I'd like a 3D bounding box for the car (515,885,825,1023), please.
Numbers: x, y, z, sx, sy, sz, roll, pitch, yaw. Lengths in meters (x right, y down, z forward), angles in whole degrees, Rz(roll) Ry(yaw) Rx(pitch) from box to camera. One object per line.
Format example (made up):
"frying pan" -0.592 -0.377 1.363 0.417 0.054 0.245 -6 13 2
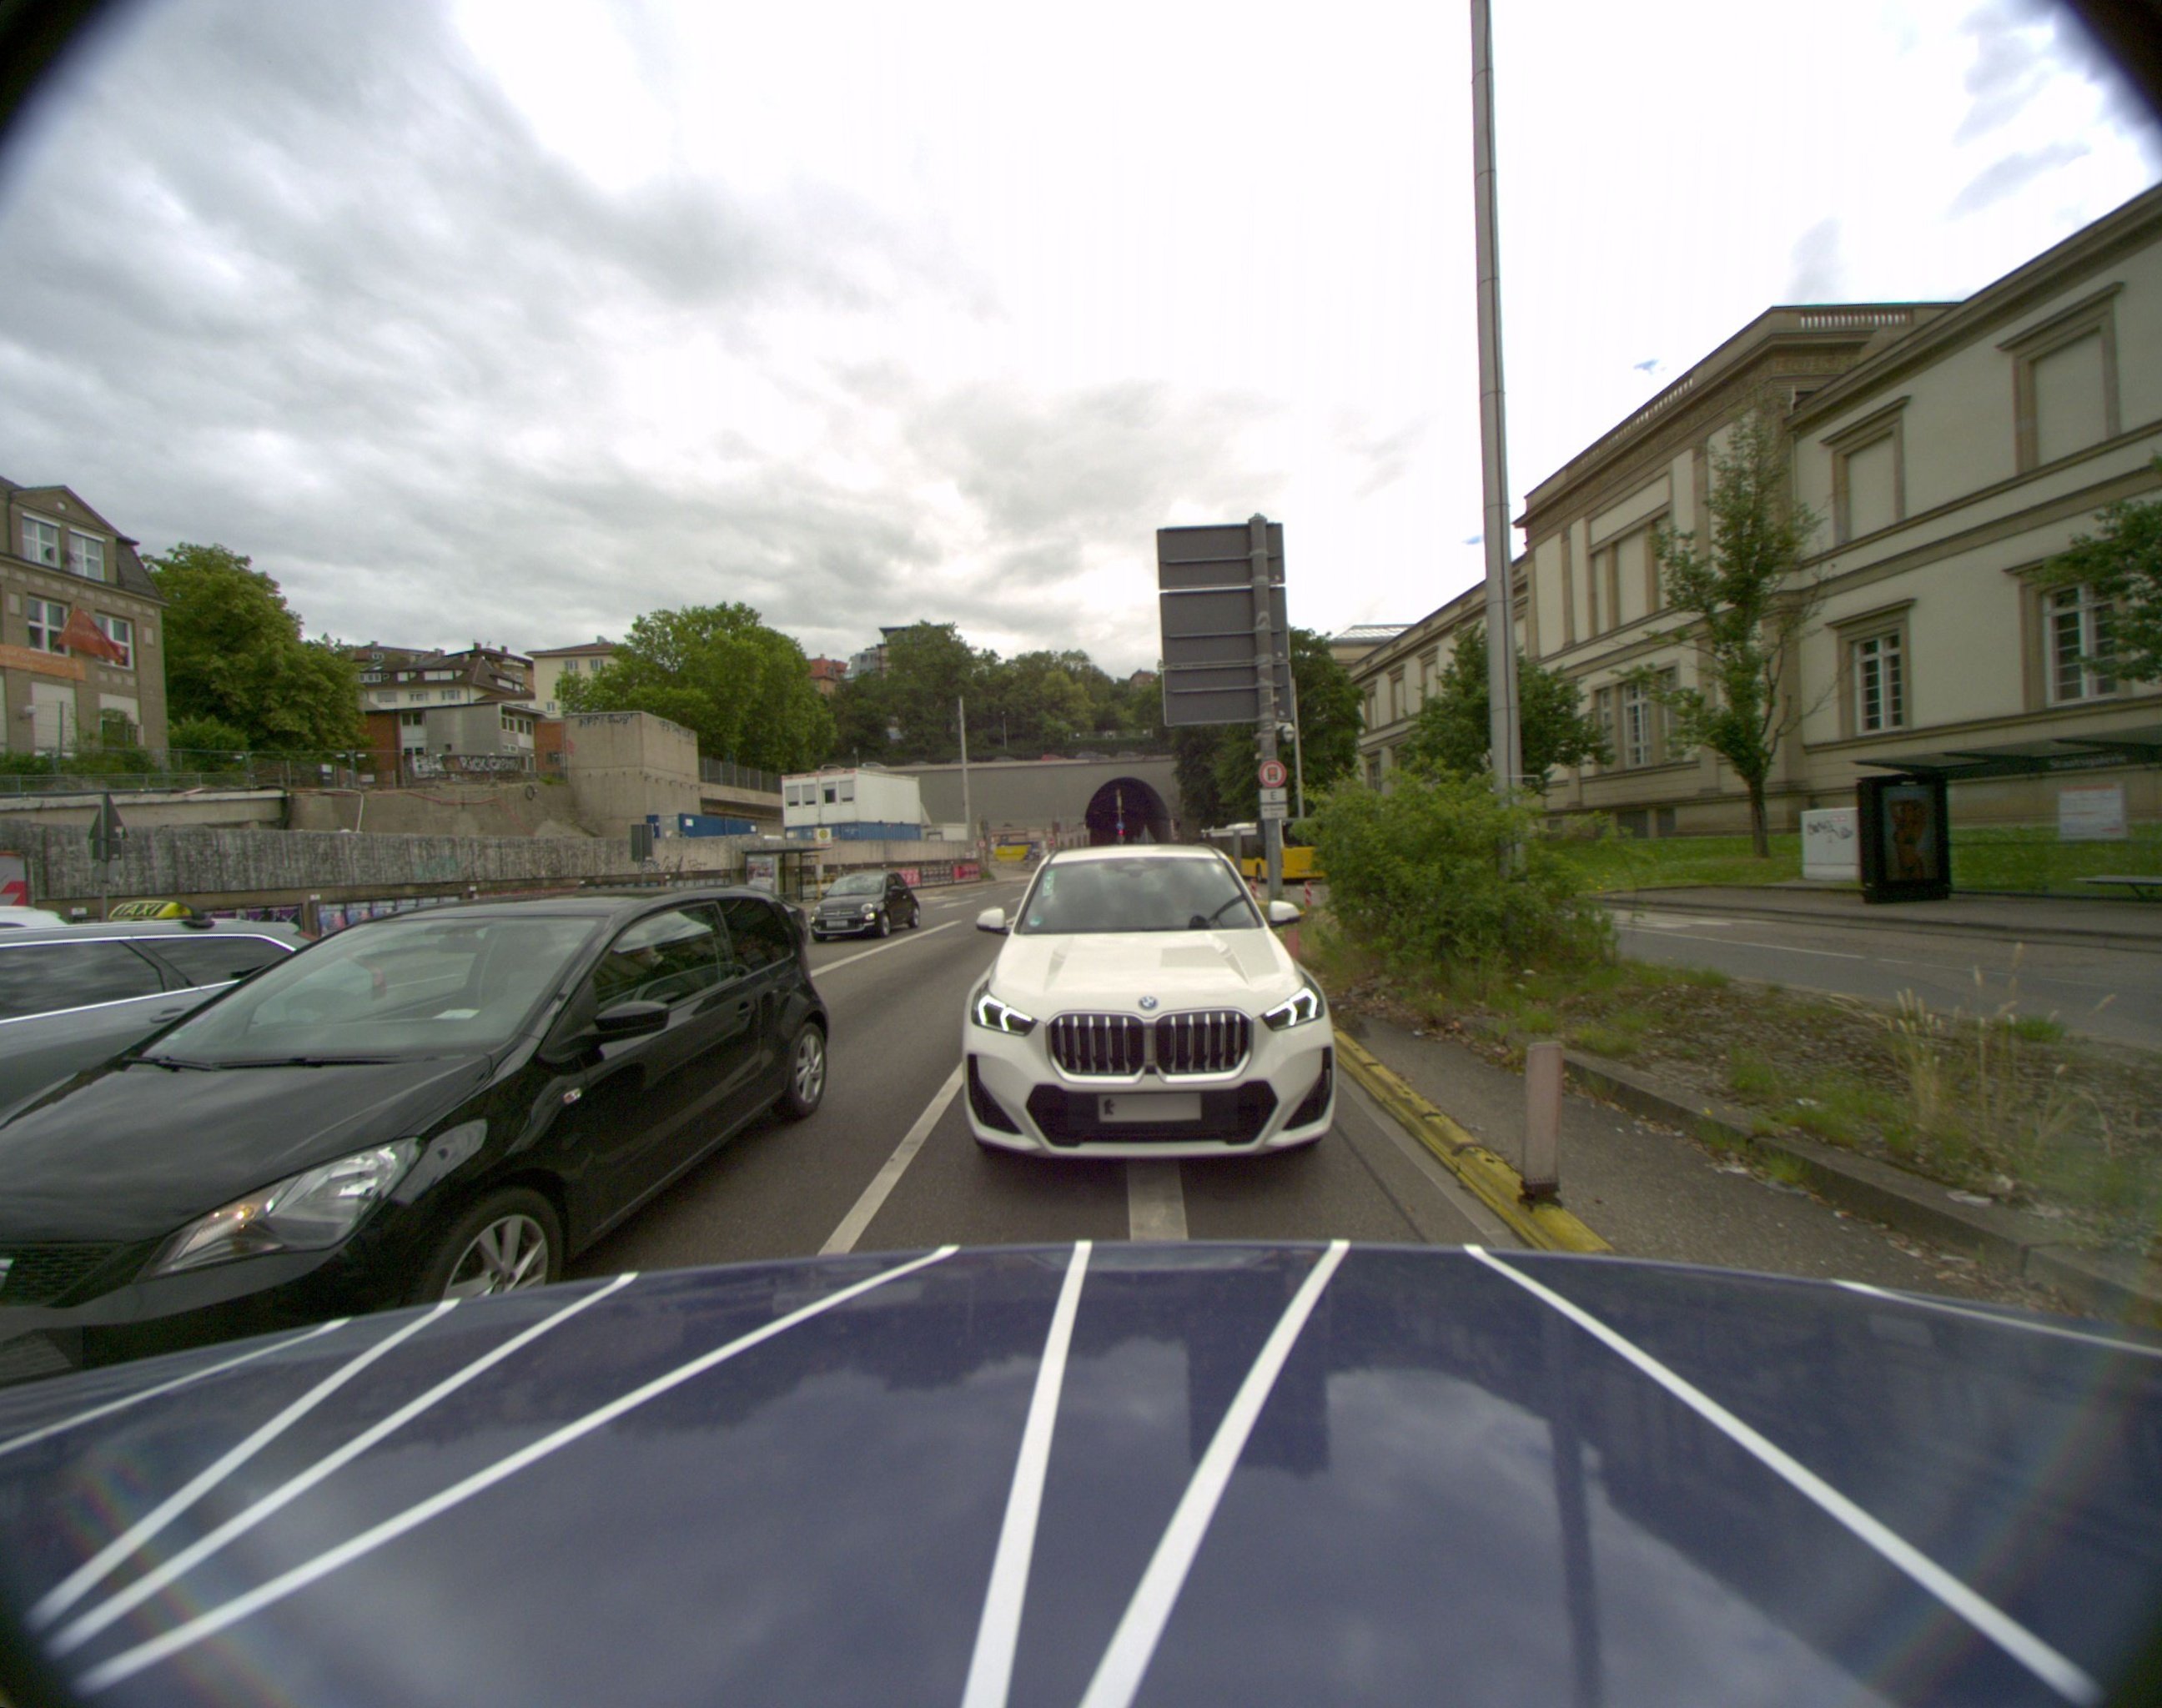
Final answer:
"car" -5.399 1.228 10.755 1.826 1.356 4.219 -2 0 4

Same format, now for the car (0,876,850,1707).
"car" -2.530 0.981 3.269 1.661 1.547 3.911 -2 1 3

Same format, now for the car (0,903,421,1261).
"car" -5.825 1.145 3.449 1.826 1.457 4.217 -2 1 2

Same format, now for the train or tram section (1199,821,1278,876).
"train or tram section" 9.652 -0.308 47.788 2.701 3.053 9.374 -1 0 -2

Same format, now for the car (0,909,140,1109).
"car" -9.151 1.260 4.574 1.826 1.457 4.073 -2 1 0

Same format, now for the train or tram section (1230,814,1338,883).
"train or tram section" 9.953 -0.249 38.429 2.701 3.053 9.335 -1 0 -1

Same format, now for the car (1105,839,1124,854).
"car" 3.684 -0.827 84.550 1.948 1.565 3.999 -2 1 1

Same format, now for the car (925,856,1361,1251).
"car" 0.339 0.850 5.116 1.756 1.547 3.911 -2 1 3

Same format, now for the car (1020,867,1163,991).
"car" 0.222 0.993 11.591 1.756 1.427 3.911 -2 0 3

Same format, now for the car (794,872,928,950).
"car" -4.961 1.226 17.684 1.720 1.450 3.782 -3 0 4
